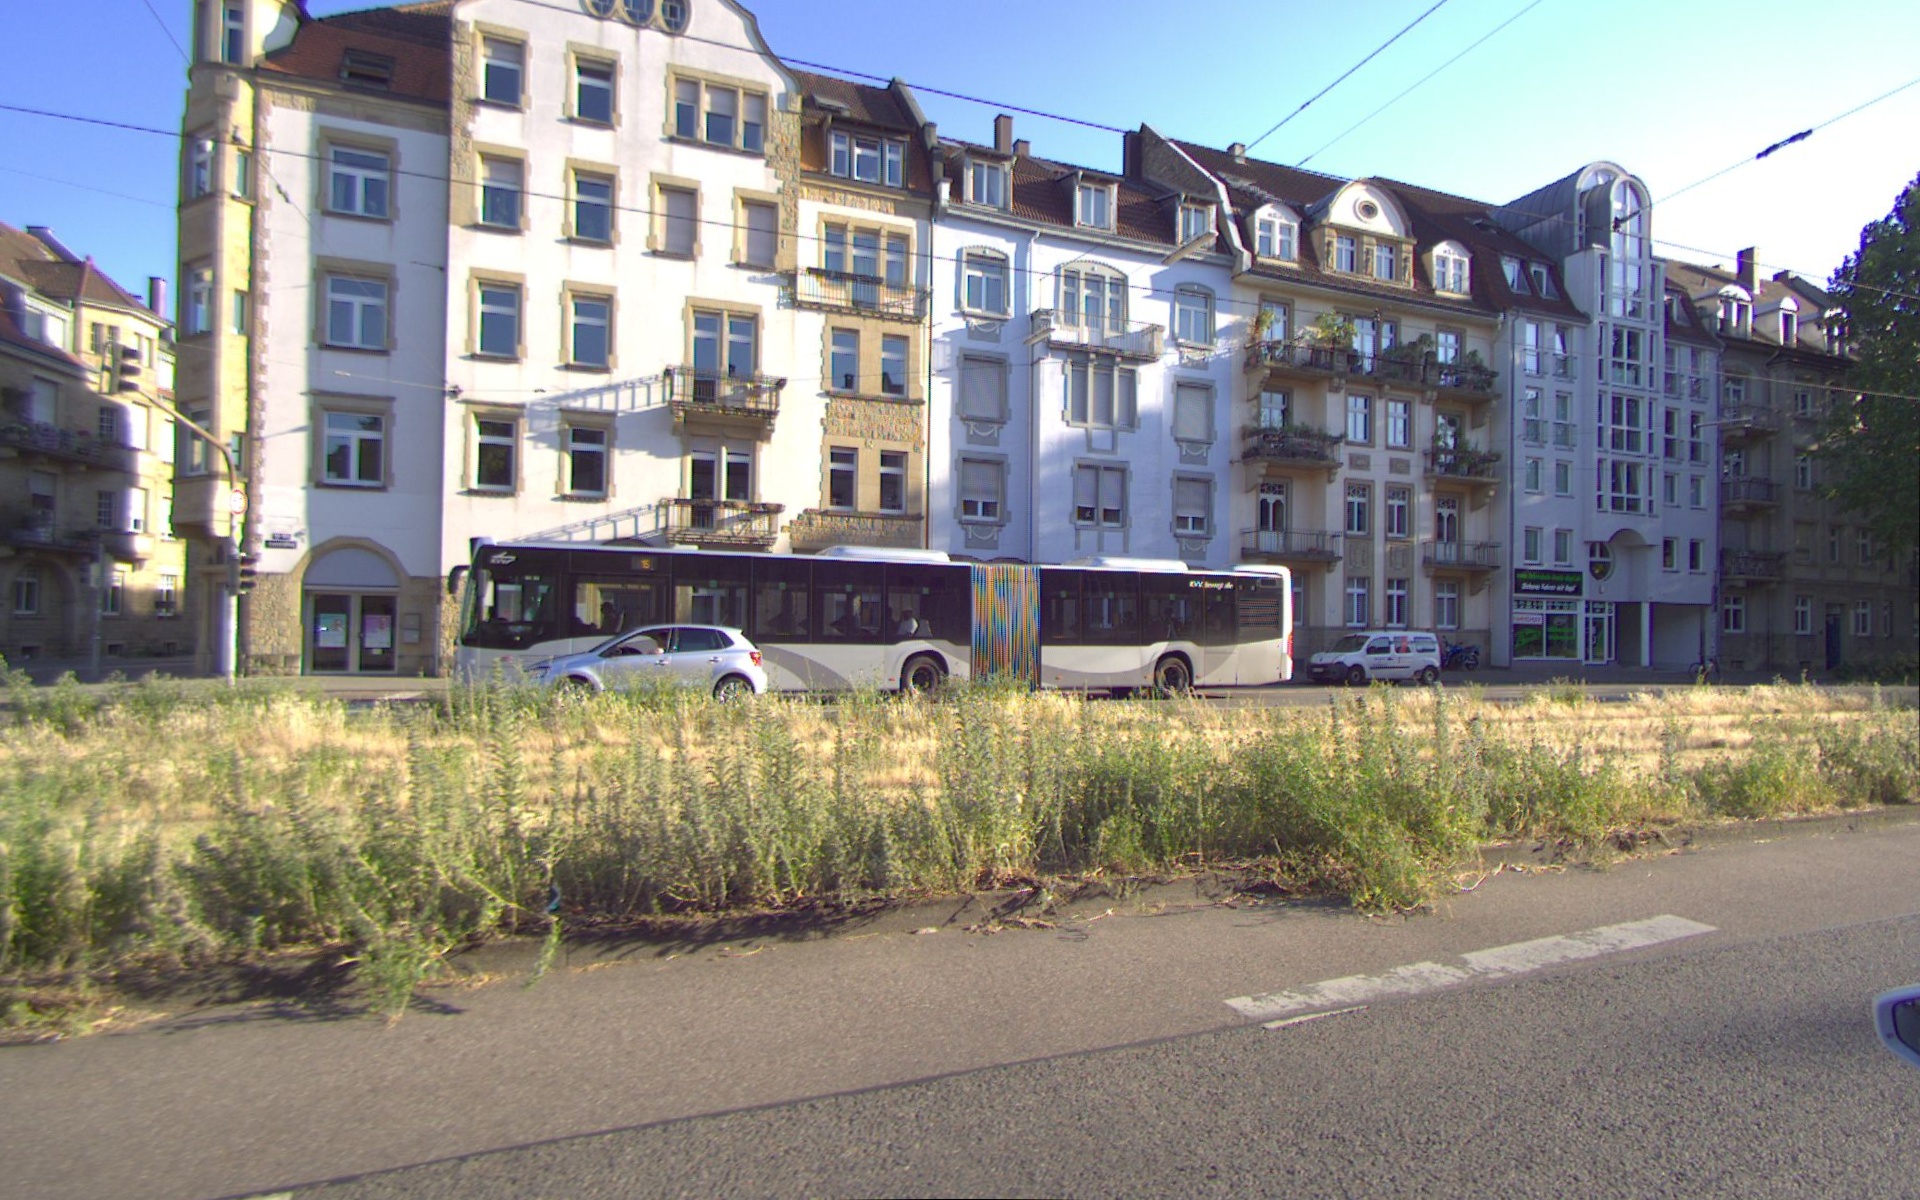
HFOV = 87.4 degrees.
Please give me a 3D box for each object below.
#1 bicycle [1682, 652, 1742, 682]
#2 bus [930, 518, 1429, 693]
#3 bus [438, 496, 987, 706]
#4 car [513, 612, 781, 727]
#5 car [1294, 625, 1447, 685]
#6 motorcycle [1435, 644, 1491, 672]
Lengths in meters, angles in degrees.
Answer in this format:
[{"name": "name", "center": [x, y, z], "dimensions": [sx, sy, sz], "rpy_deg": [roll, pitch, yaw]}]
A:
[{"name": "bicycle", "center": [30.031, 2.662, 40.112], "dimensions": [1.860, 1.047, 0.758], "rpy_deg": [2, 4, -8]}, {"name": "bus", "center": [5.404, 0.334, 23.977], "dimensions": [11.801, 3.418, 3.249], "rpy_deg": [3, -2, -21]}, {"name": "bus", "center": [-4.616, 0.237, 19.954], "dimensions": [9.755, 3.418, 3.260], "rpy_deg": [3, -2, -22]}, {"name": "car", "center": [-5.088, 1.145, 16.576], "dimensions": [3.938, 1.706, 1.928], "rpy_deg": [3, -2, -19]}, {"name": "car", "center": [13.529, 1.814, 33.113], "dimensions": [4.583, 1.810, 1.902], "rpy_deg": [3, -2, -20]}, {"name": "motorcycle", "center": [19.886, 2.299, 39.733], "dimensions": [2.385, 1.035, 0.526], "rpy_deg": [2, 1, -23]}]
